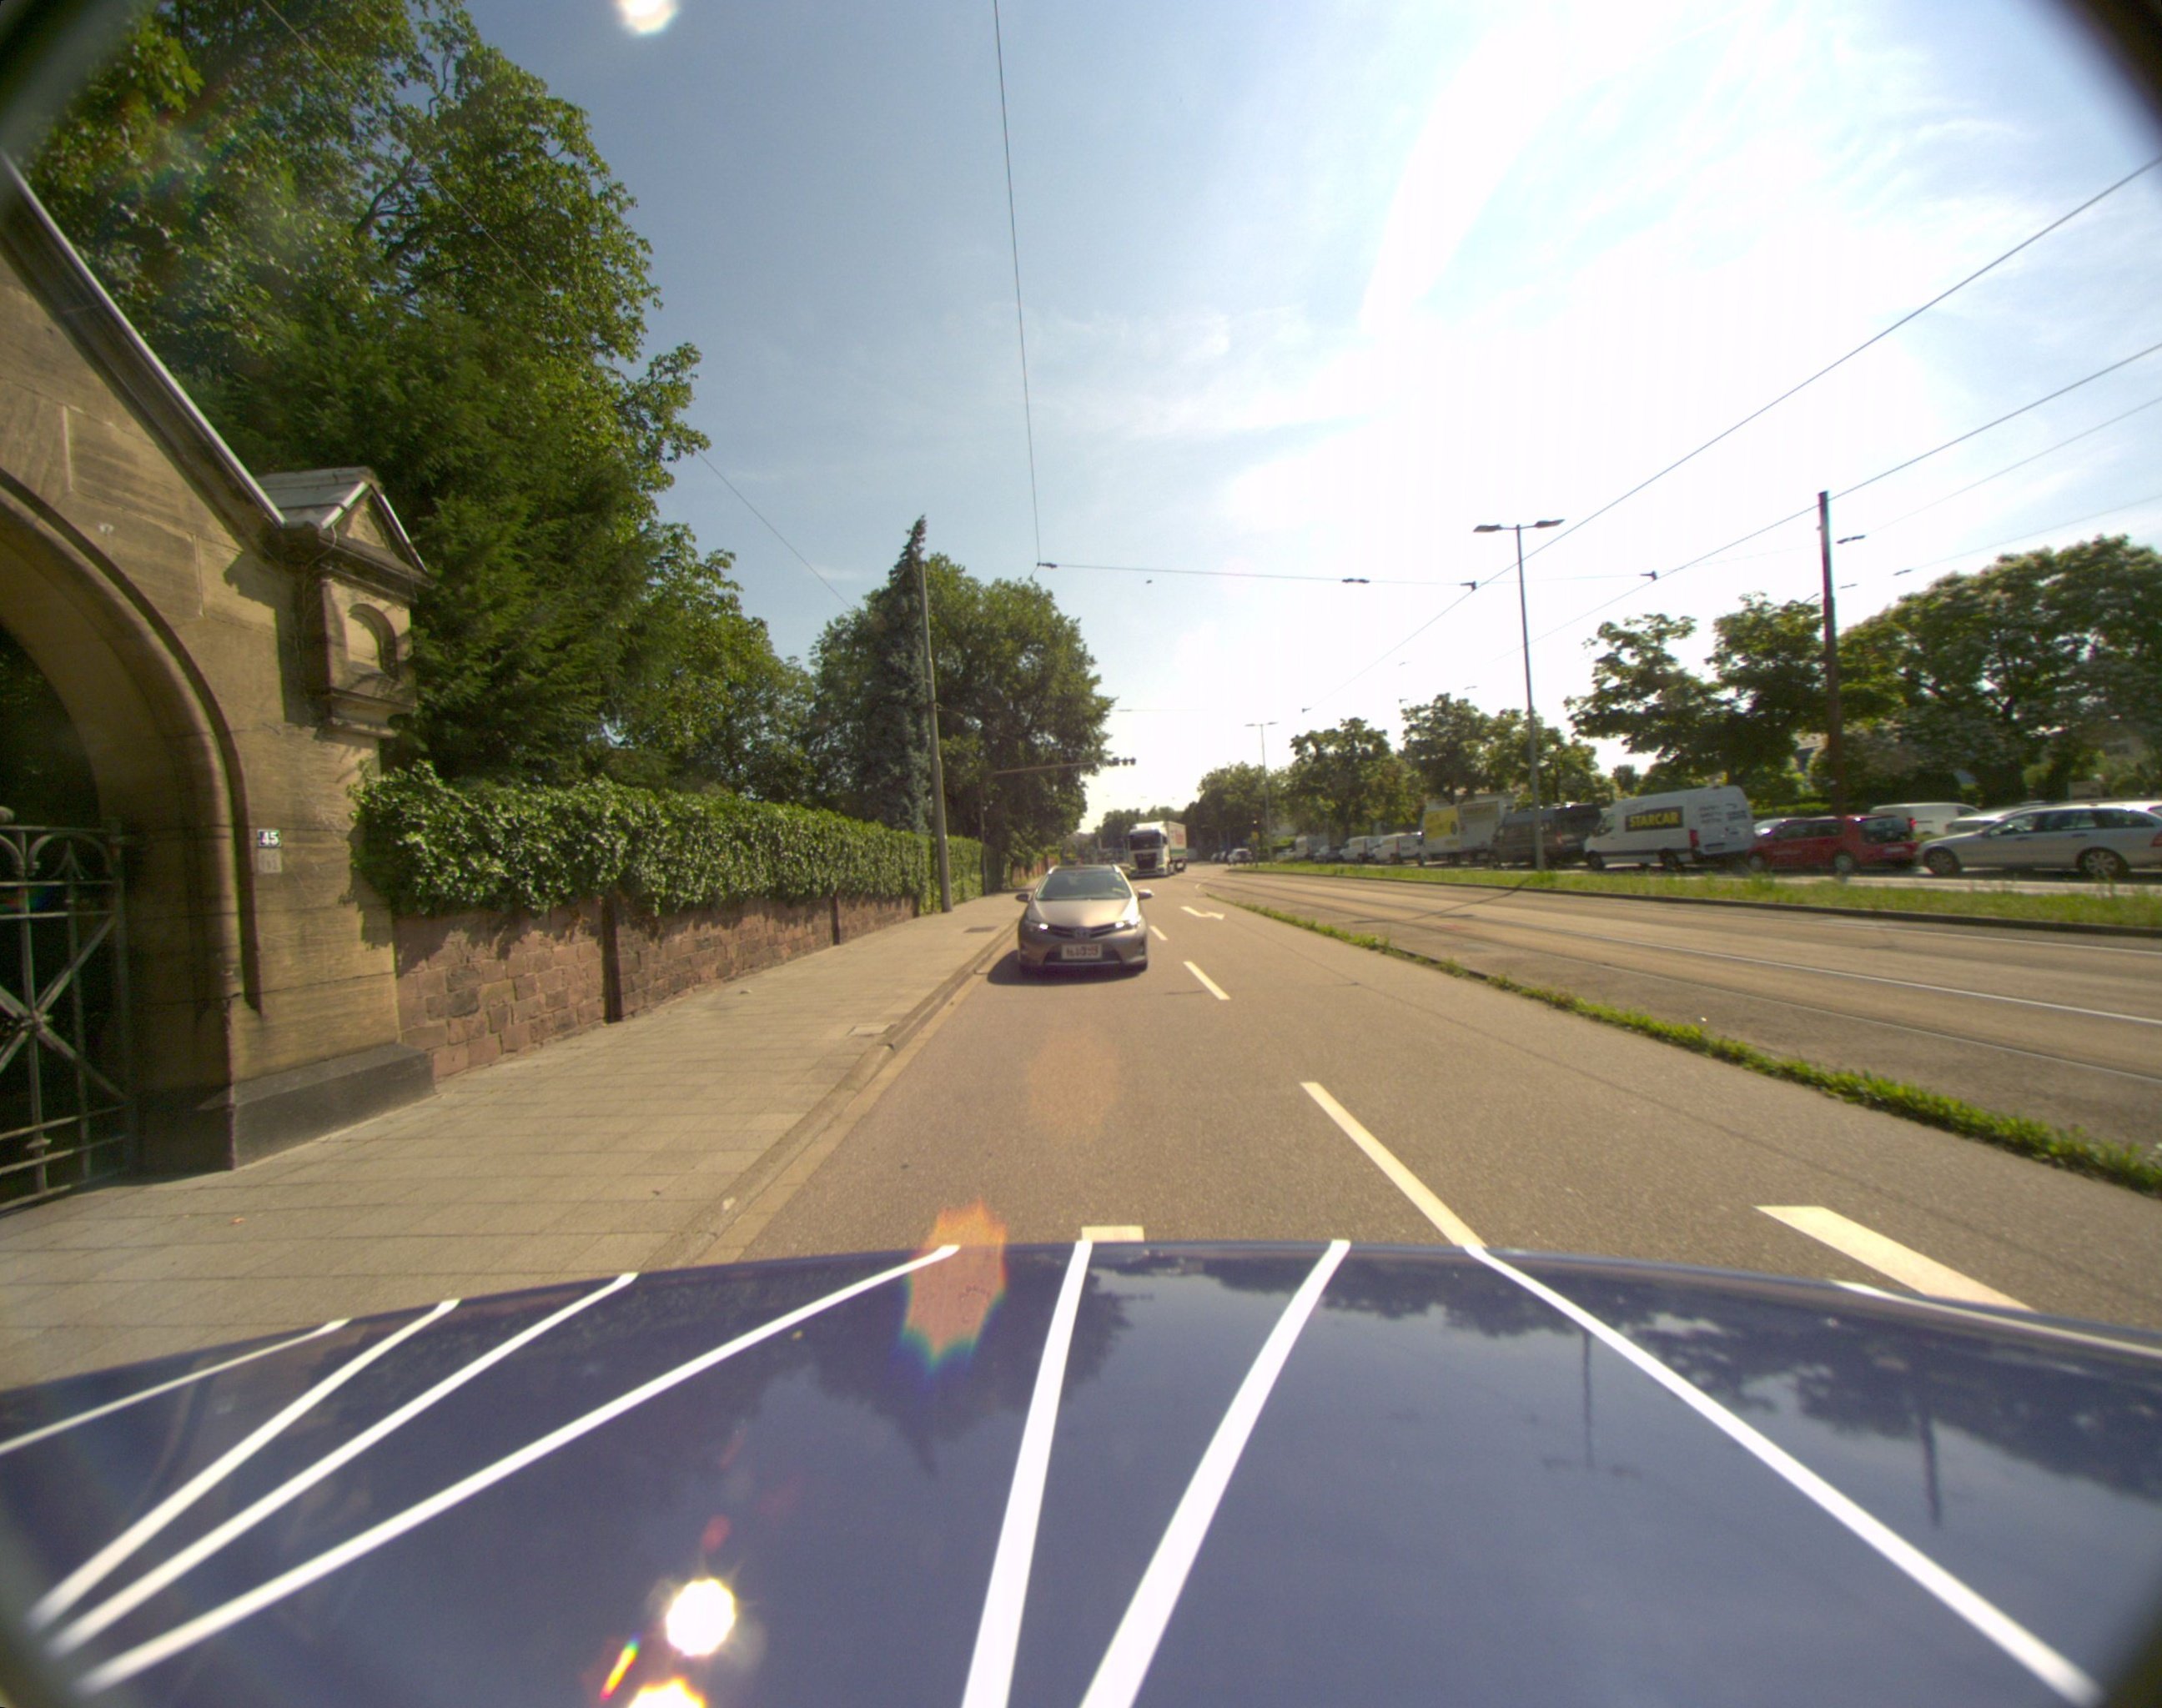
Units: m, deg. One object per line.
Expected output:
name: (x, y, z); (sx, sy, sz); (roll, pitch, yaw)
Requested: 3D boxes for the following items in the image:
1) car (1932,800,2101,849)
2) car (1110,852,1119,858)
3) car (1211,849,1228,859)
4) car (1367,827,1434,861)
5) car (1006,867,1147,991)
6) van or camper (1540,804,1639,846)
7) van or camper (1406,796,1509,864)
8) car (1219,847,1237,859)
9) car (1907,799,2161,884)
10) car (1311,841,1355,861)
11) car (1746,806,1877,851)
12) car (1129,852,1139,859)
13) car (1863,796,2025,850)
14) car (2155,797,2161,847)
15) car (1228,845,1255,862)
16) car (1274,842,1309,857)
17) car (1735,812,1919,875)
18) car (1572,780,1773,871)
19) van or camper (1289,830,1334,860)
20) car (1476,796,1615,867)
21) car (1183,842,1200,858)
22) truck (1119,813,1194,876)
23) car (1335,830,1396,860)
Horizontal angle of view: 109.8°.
car: (31.436, -0.975, 25.581); (3.998, 1.363, 1.488); (-3, 0, -3)
car: (10.542, 0.429, 237.941); (1.999, 1.783, 3.998); (-4, 0, -5)
car: (21.166, 0.028, 116.291); (1.679, 1.427, 4.457); (-3, 0, -1)
car: (20.965, -0.634, 50.080); (2.201, 1.929, 5.185); (-6, 0, 2)
car: (0.085, 0.989, 11.612); (1.719, 1.439, 4.032); (-2, 0, 4)
van or camper: (44.979, -2.555, 67.358); (6.968, 3.225, 2.582); (-3, 0, -1)
van or camper: (20.398, -1.201, 41.649); (2.201, 3.222, 6.773); (-6, 0, 2)
car: (21.164, -0.079, 109.593); (1.679, 1.603, 4.242); (-3, 0, -1)
car: (20.107, -0.260, 15.683); (1.295, 1.481, 4.351); (-5, 0, 1)
car: (20.757, -0.239, 62.850); (1.937, 1.446, 4.886); (-5, 0, 1)
car: (31.585, -1.083, 32.936); (3.997, 1.684, 1.663); (-3, 0, 0)
car: (13.709, 0.383, 197.156); (1.999, 1.805, 3.998); (-4, 0, -5)
car: (31.742, -1.122, 28.016); (3.997, 1.684, 1.663); (-3, 0, 0)
car: (31.295, -0.975, 20.047); (3.998, 1.363, 1.488); (-3, 0, -3)
car: (16.292, -0.060, 77.340); (2.048, 1.588, 4.661); (-2, 0, 4)
car: (23.756, -0.486, 85.606); (4.344, 1.414, 1.793); (-3, 0, -44)
car: (20.115, -0.270, 20.717); (1.295, 1.481, 3.676); (-4, 0, -1)
car: (20.178, -0.861, 26.447); (2.201, 2.615, 5.979); (-6, 0, 1)
van or camper: (21.005, -0.751, 69.511); (2.262, 2.500, 6.148); (-3, 0, 2)
car: (20.242, -0.910, 33.577); (2.201, 2.653, 6.079); (-5, 0, 0)
car: (21.399, -0.760, 147.279); (2.016, 2.636, 6.086); (-7, 0, 1)
truck: (6.147, -0.696, 58.579); (3.388, 4.045, 14.300); (-4, 0, 14)
car: (21.164, -0.622, 56.727); (2.202, 1.929, 5.183); (-5, 0, -3)
